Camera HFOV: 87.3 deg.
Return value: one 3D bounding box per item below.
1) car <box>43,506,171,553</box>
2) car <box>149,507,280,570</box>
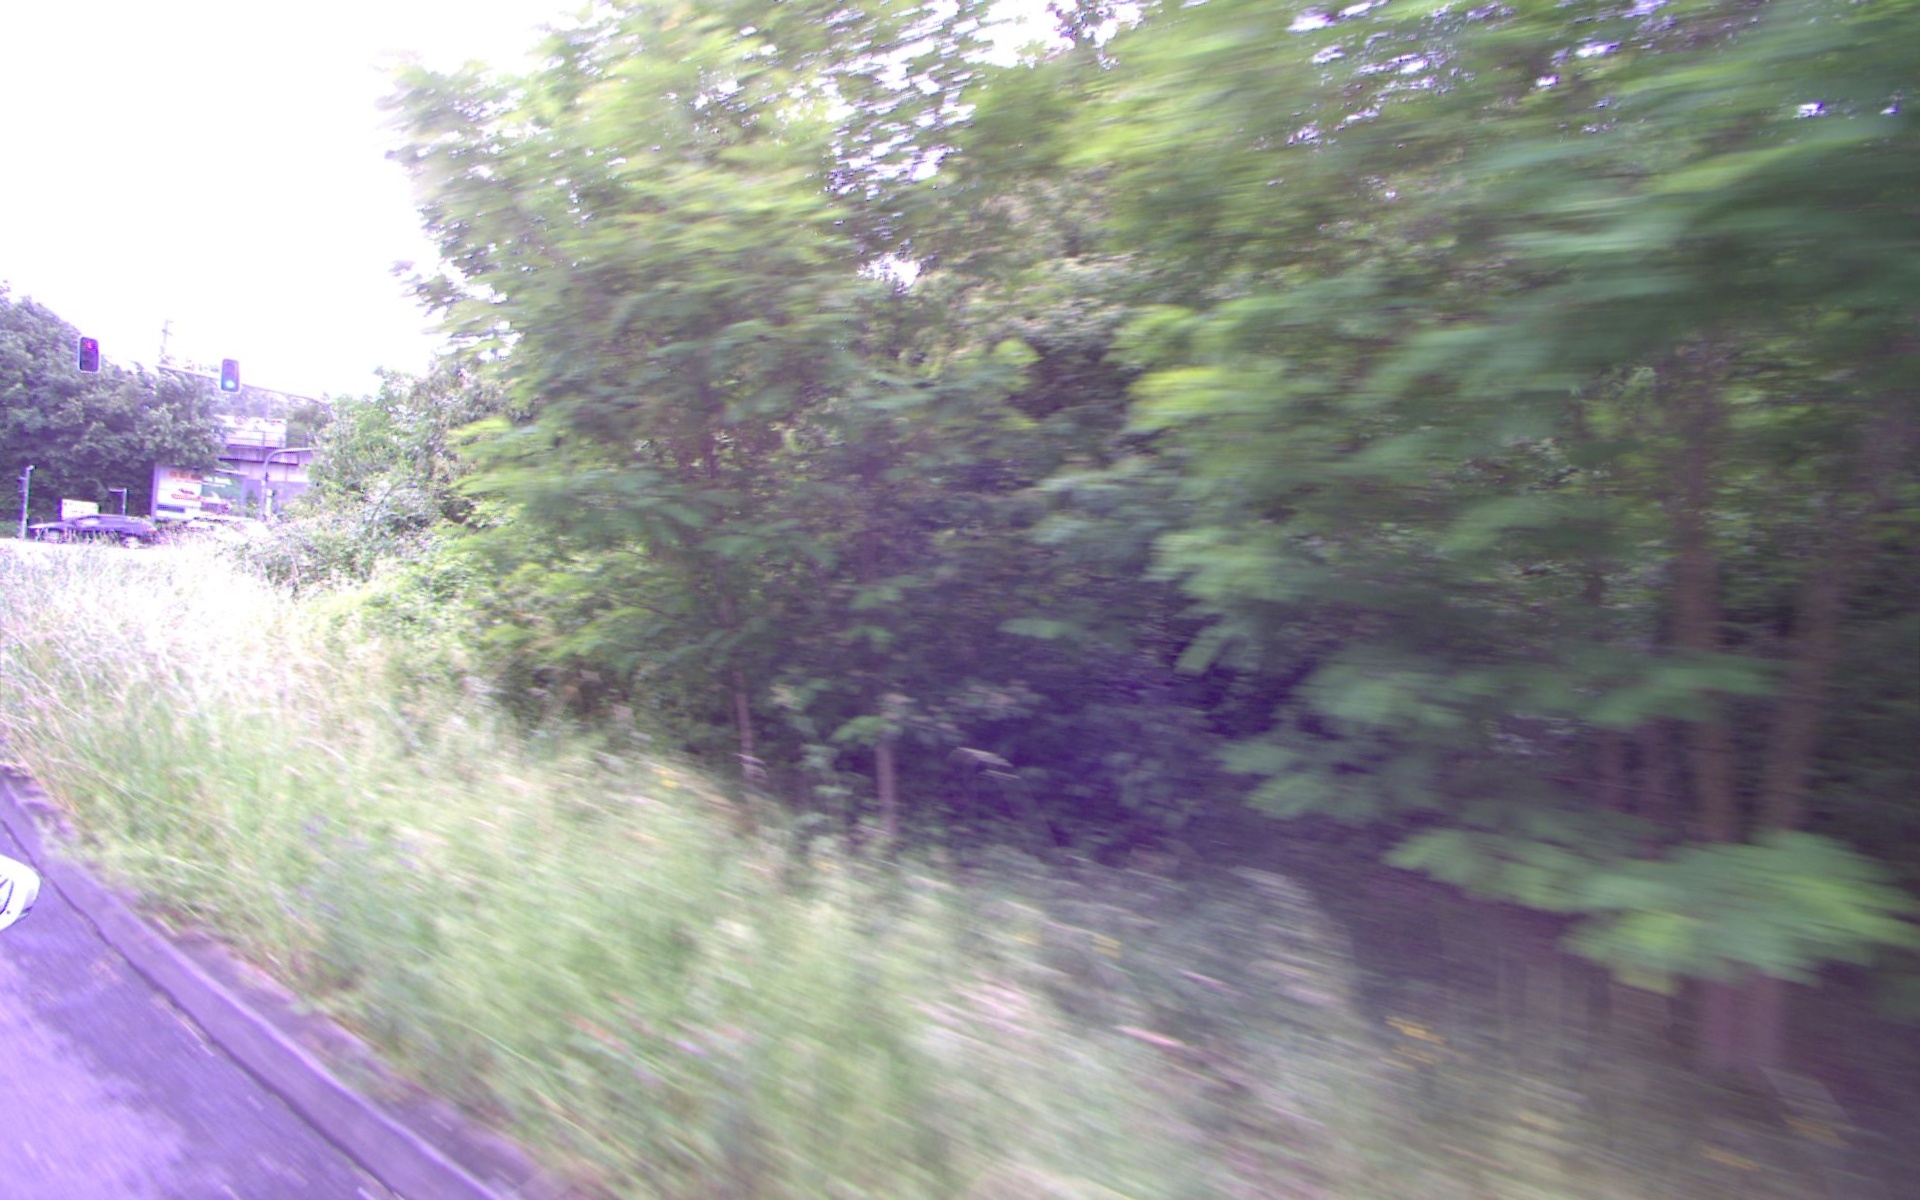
[{"bbox_3d":[-37.691,-3.076,44.497,1.830,1.468,4.021,4,-3,41],"label":"car"},{"bbox_3d":[-23.714,-1.900,32.185,1.878,1.483,3.989,9,-2,-15],"label":"car"}]
